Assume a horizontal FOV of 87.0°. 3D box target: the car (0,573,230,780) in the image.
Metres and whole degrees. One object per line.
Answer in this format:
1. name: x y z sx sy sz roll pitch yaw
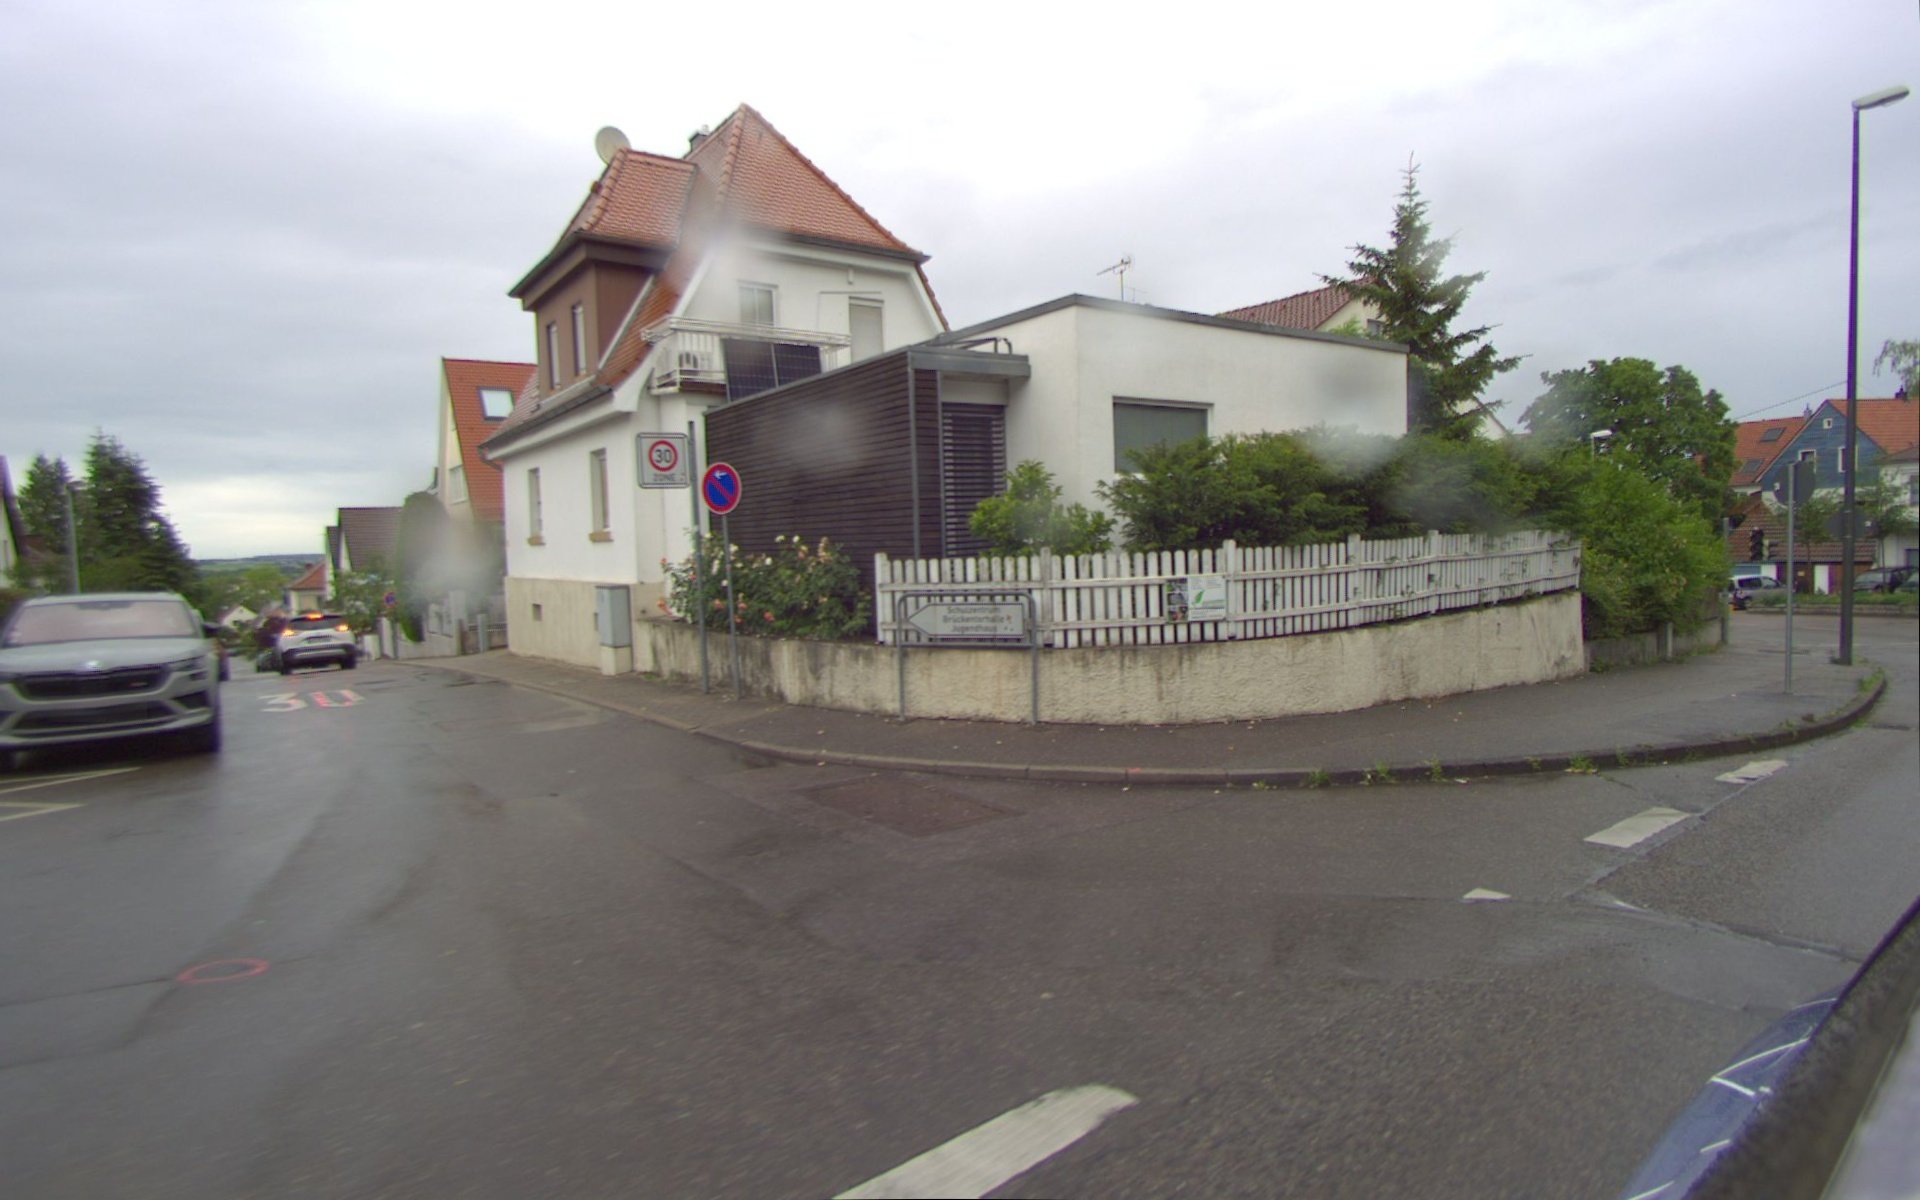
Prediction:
1. car: -9.007 0.721 10.705 1.888 1.672 4.445 -4 0 -37

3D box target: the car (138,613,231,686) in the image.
1. car: -20.585 1.286 26.949 1.764 1.657 3.997 -4 0 -37

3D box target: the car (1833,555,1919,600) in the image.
1. car: 44.041 -1.068 48.296 4.006 1.796 1.802 -5 1 -20

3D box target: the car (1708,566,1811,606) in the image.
1. car: 42.577 -0.753 53.932 4.036 1.822 2.003 -4 0 -9

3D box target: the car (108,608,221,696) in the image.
1. car: -17.678 1.119 22.618 1.764 1.657 3.997 -4 0 -37

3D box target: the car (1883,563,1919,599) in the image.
1. car: 44.001 -0.908 45.906 3.277 1.503 1.842 -4 0 -22

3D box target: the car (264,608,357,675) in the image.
1. car: -17.996 1.139 27.980 1.764 1.597 3.996 -4 0 -37

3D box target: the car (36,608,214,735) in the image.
1. car: -11.903 0.955 14.651 1.616 1.456 3.998 -4 0 -35
